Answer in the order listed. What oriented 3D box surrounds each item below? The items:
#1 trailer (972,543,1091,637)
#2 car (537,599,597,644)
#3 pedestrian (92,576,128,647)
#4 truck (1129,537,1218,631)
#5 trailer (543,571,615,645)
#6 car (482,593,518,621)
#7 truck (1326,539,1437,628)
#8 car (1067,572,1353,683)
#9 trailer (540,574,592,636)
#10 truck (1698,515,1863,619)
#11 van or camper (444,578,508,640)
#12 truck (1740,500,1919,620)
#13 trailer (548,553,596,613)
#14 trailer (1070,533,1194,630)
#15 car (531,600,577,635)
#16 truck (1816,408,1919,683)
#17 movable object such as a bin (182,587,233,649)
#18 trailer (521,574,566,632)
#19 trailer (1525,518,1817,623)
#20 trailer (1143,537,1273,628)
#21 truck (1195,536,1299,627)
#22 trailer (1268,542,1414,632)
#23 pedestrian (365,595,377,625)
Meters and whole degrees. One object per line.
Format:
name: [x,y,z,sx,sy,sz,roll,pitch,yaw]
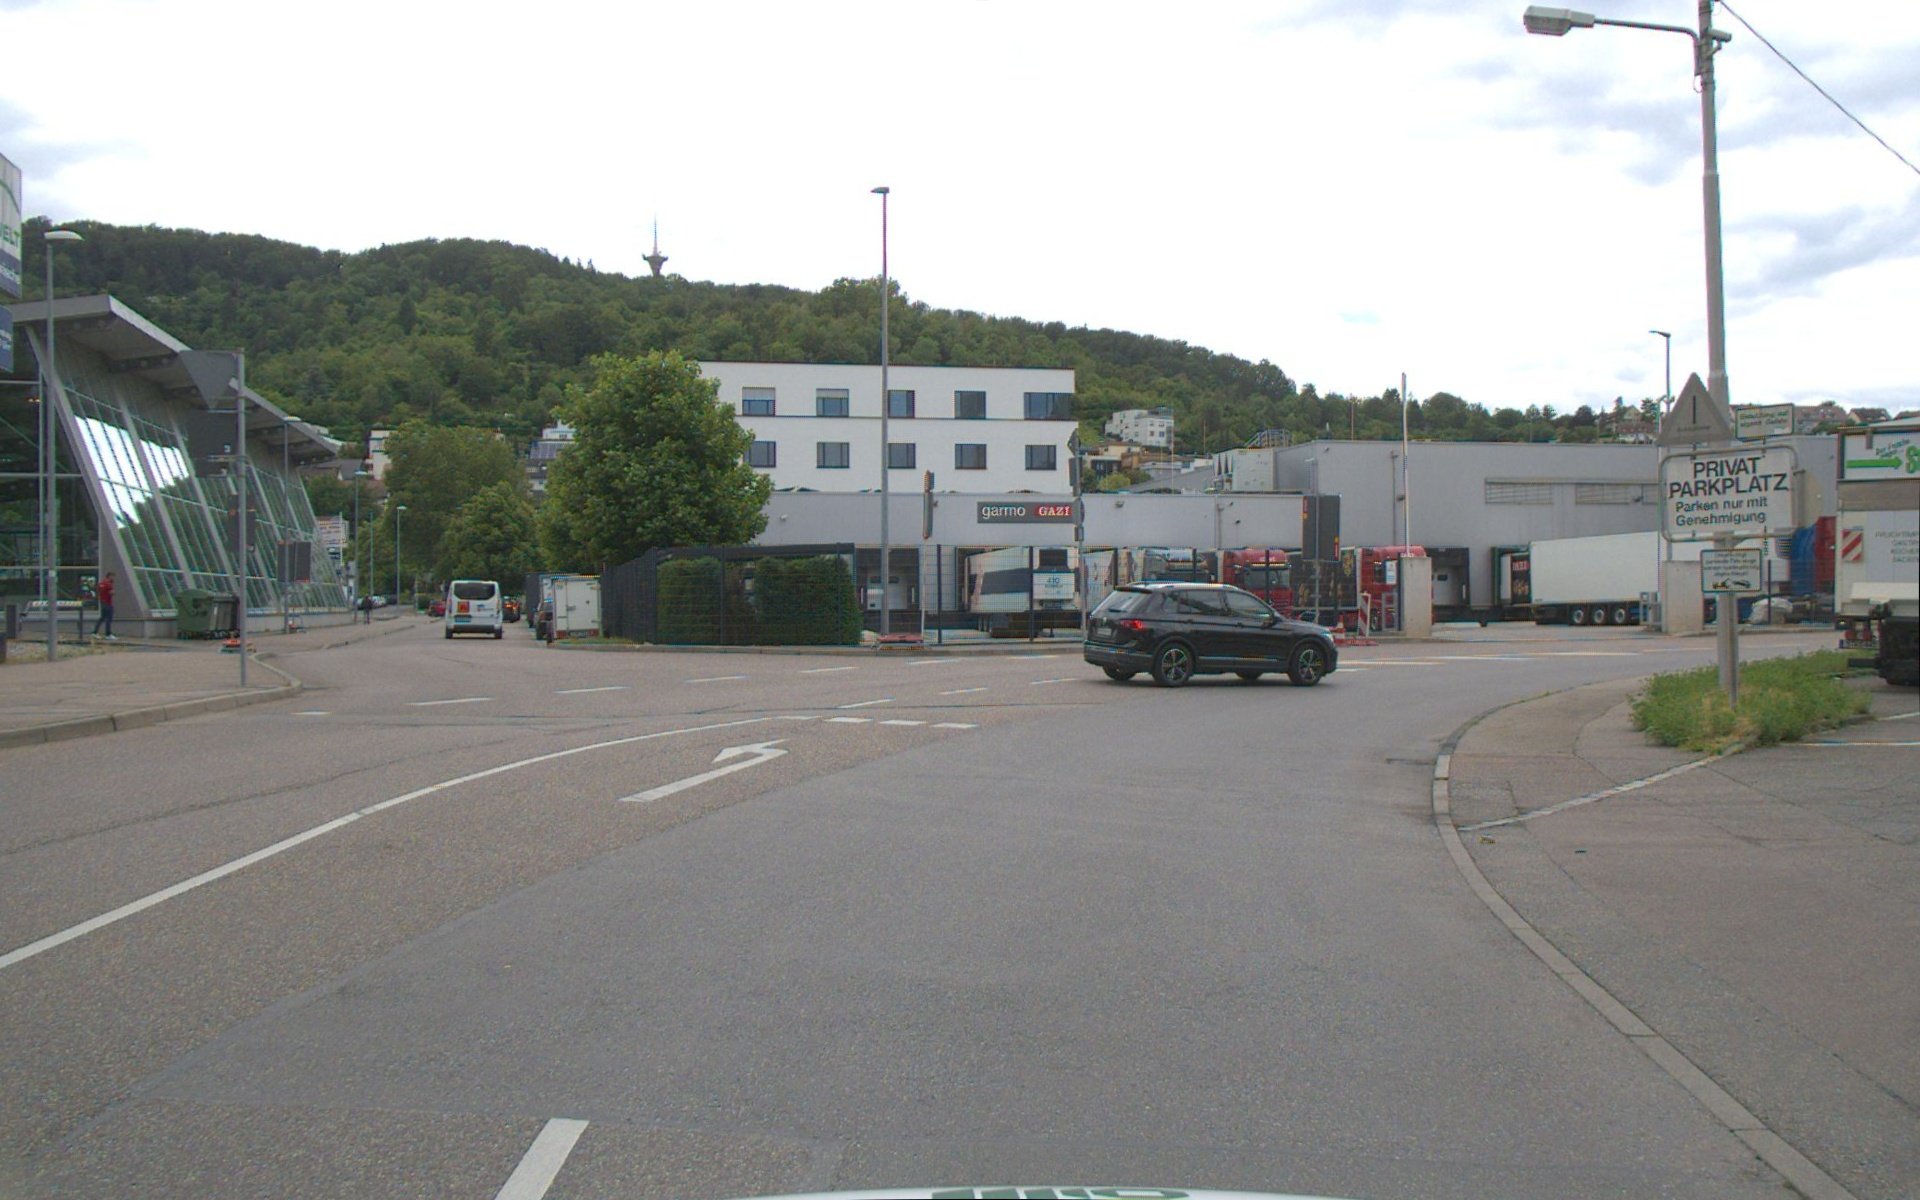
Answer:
trailer: [3.235,-0.418,79.040,3.027,4.149,11.376,0,0,-12]
car: [-14.359,0.758,60.260,1.961,1.534,4.164,0,0,-16]
pedestrian: [-23.304,0.309,45.366,0.815,1.901,0.712,-1,0,-26]
truck: [9.513,-0.685,73.974,2.744,4.111,4.153,0,-1,-11]
trailer: [-11.175,0.204,48.372,1.960,2.049,3.985,0,0,-14]
car: [-29.282,0.451,105.387,1.958,1.713,3.988,-1,-1,-12]
truck: [19.603,-0.727,77.204,2.743,3.997,5.908,0,0,-11]
car: [4.128,0.442,27.367,4.298,1.713,1.986,1,0,-23]
trailer: [-15.659,0.175,65.662,1.960,2.384,3.985,0,0,-14]
truck: [33.833,-1.292,68.286,5.520,4.091,2.911,-1,0,44]
van or camper: [-17.474,0.330,59.608,2.066,2.119,4.183,-1,-1,-18]
truck: [31.471,-1.381,59.471,6.849,4.091,2.900,0,0,-31]
trailer: [-25.590,-1.099,108.941,3.016,3.825,4.916,0,0,-14]
trailer: [8.188,-0.797,80.515,2.734,4.376,11.149,0,0,-12]
car: [-18.691,0.782,76.337,1.959,1.534,3.988,0,0,-12]
truck: [15.916,-0.736,25.335,3.017,3.695,8.555,0,0,41]
movable object such as a bin: [-21.892,0.525,48.124,1.122,1.788,1.056,-1,-1,-12]
trailer: [-21.772,0.138,86.584,2.240,3.005,3.985,0,0,-14]
trailer: [31.371,-1.176,74.164,2.985,4.257,13.921,0,0,-22]
trailer: [11.979,-0.764,81.274,2.734,4.149,10.963,0,0,-12]
truck: [13.053,-0.814,75.658,2.743,3.997,5.908,0,0,-11]
trailer: [18.694,-0.563,82.180,2.734,4.149,10.963,0,0,-12]
pedestrian: [-33.523,0.573,94.135,0.618,1.702,0.754,-1,-1,-18]
